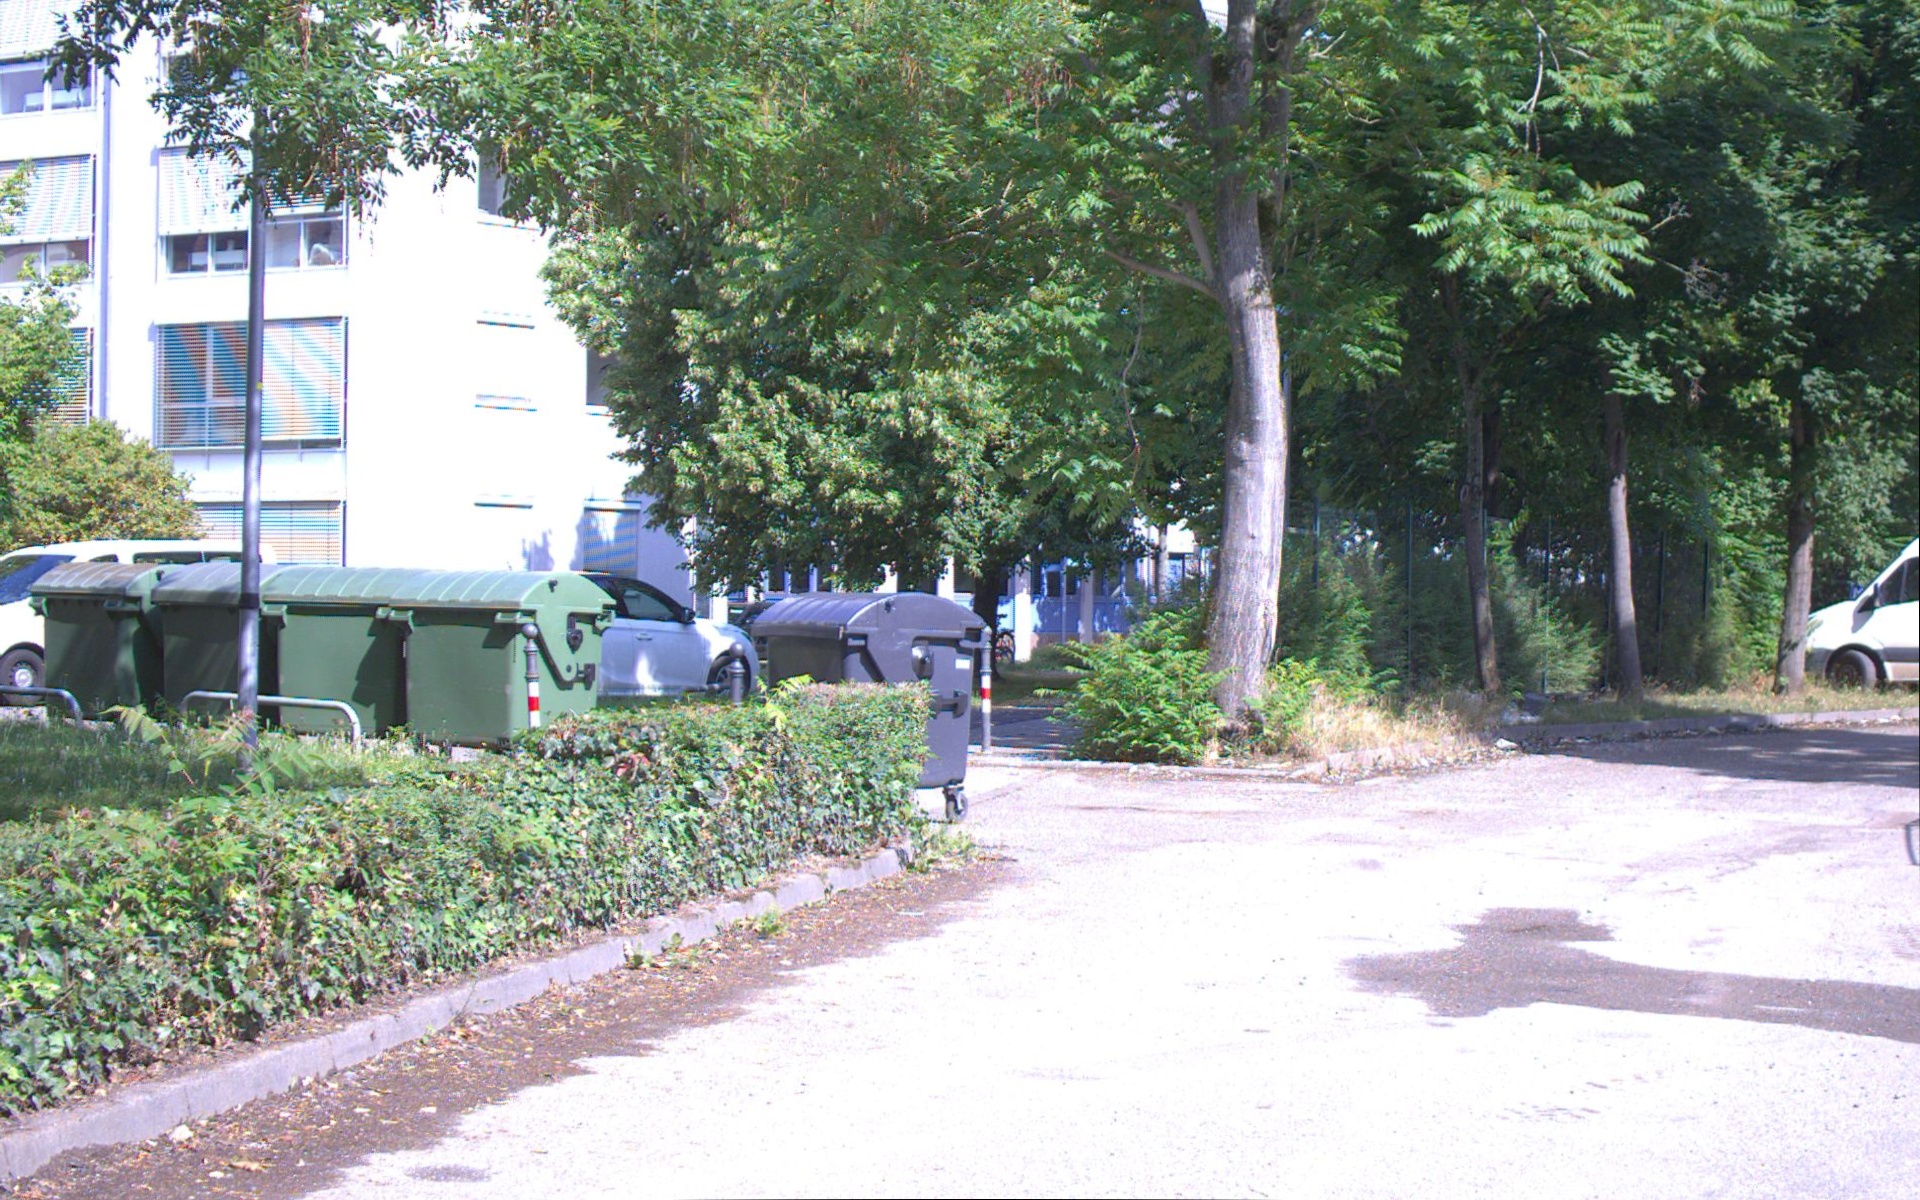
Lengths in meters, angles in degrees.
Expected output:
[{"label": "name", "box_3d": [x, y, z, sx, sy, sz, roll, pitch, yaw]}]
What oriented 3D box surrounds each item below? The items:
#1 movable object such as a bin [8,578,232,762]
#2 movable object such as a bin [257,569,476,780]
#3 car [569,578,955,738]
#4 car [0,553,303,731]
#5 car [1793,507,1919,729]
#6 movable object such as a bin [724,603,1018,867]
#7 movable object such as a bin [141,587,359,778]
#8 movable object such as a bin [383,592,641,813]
[{"label": "movable object such as a bin", "box_3d": [-6.559, 0.535, 26.848, 1.379, 1.344, 0.945, 3, 0, 32]}, {"label": "movable object such as a bin", "box_3d": [-4.296, 0.531, 24.904, 1.232, 1.447, 0.878, 3, 0, 32]}, {"label": "car", "box_3d": [-1.950, 0.541, 34.802, 1.757, 1.415, 3.908, 2, 2, 38]}, {"label": "car", "box_3d": [-10.230, 0.451, 39.953, 1.998, 1.958, 4.944, 0, 0, 40]}, {"label": "car", "box_3d": [15.540, 0.371, 48.552, 6.961, 3.037, 1.998, 3, 2, 23]}, {"label": "movable object such as a bin", "box_3d": [-0.566, 0.837, 21.513, 1.245, 1.477, 1.296, 3, 3, -32]}, {"label": "movable object such as a bin", "box_3d": [-5.319, 0.607, 25.763, 1.232, 1.344, 0.945, 3, 0, 32]}, {"label": "movable object such as a bin", "box_3d": [-3.147, 0.705, 24.172, 1.341, 1.447, 1.101, 3, 0, 32]}]
